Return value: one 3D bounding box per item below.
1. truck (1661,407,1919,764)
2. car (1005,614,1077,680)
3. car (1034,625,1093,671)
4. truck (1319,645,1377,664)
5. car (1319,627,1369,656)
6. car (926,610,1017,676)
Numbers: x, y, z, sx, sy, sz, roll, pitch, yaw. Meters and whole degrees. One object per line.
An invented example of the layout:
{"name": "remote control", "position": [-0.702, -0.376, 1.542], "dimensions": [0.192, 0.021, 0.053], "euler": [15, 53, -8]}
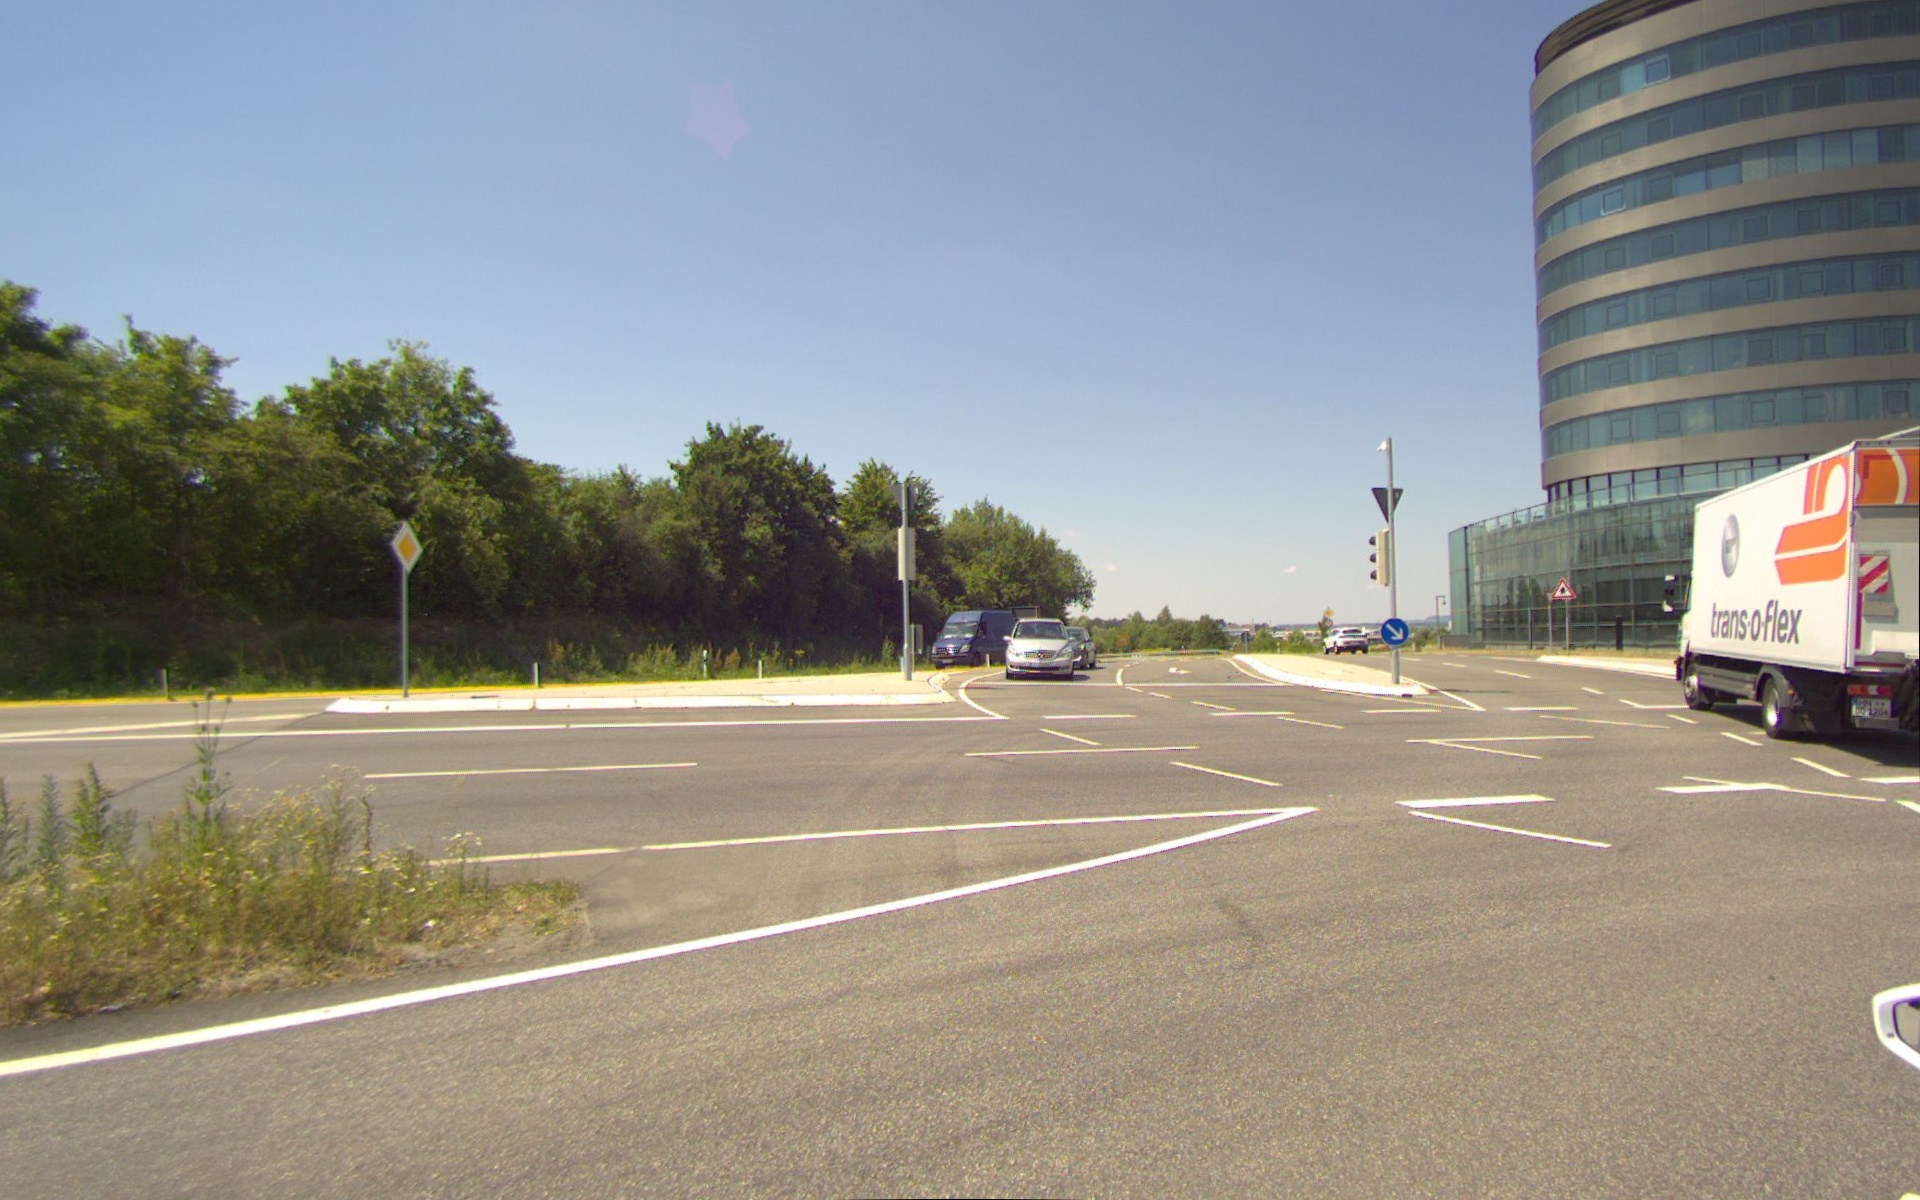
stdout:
{"name": "truck", "position": [13.053, 0.001, 14.950], "dimensions": [2.726, 3.910, 9.363], "euler": [1, -1, 25]}
{"name": "car", "position": [2.121, 1.293, 27.239], "dimensions": [1.741, 1.616, 4.332], "euler": [1, -3, 2]}
{"name": "car", "position": [3.643, 1.682, 34.793], "dimensions": [1.663, 1.475, 4.334], "euler": [0, -3, 11]}
{"name": "truck", "position": [74.698, 10.398, 193.409], "dimensions": [10.226, 3.262, 2.449], "euler": [0, -1, 36]}
{"name": "car", "position": [22.345, 2.401, 58.538], "dimensions": [1.771, 1.577, 4.003], "euler": [1, -1, 7]}
{"name": "car", "position": [0.619, 1.868, 45.299], "dimensions": [2.026, 2.740, 5.894], "euler": [0, -1, 23]}
